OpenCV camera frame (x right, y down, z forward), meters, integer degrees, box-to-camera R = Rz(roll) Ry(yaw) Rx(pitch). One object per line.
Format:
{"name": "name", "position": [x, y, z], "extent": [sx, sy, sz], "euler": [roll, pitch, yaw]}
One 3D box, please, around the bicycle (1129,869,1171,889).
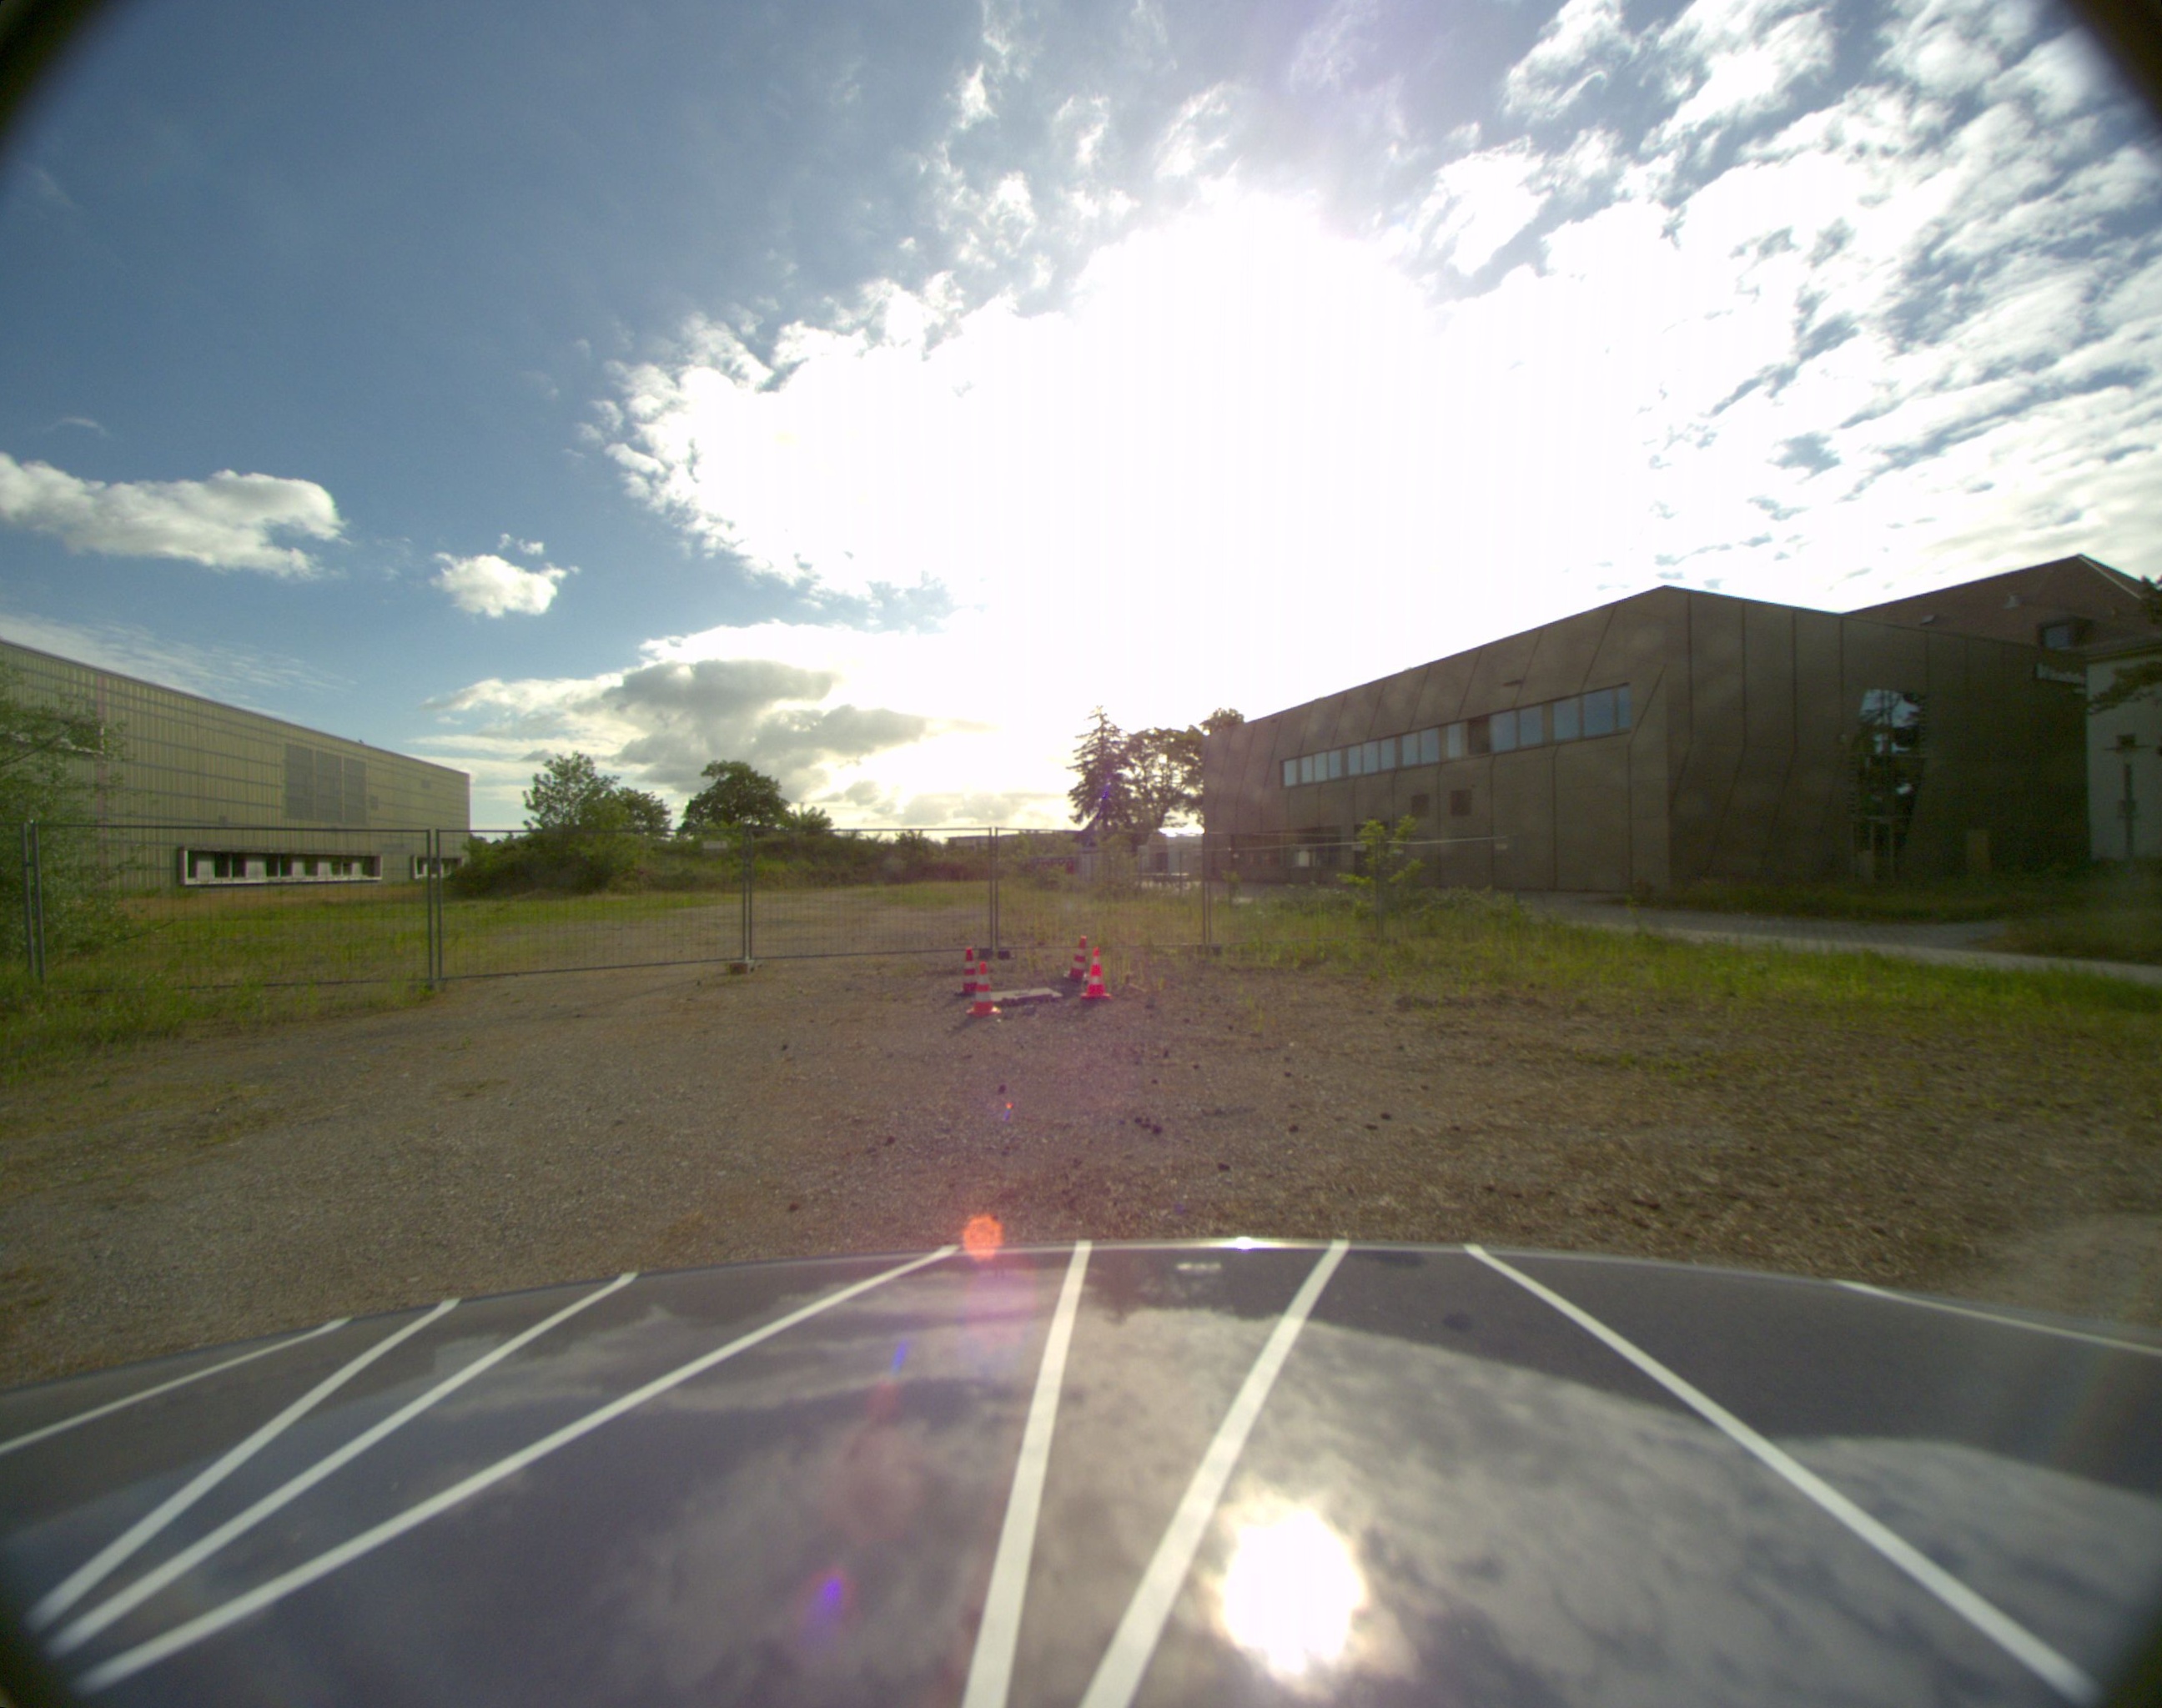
{"name": "bicycle", "position": [3.757, 1.342, 41.635], "extent": [2.071, 1.038, 0.944], "euler": [-1, 0, -22]}

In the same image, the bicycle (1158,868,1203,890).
{"name": "bicycle", "position": [5.044, 1.264, 38.514], "extent": [2.071, 1.080, 0.944], "euler": [-1, 0, -22]}

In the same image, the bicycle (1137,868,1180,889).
{"name": "bicycle", "position": [4.162, 1.308, 40.593], "extent": [2.071, 1.038, 0.944], "euler": [-1, 0, -22]}

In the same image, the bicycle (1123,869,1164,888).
{"name": "bicycle", "position": [3.521, 1.371, 42.629], "extent": [2.071, 1.038, 0.944], "euler": [-1, 0, -22]}

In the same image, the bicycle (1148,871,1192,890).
{"name": "bicycle", "position": [4.663, 1.359, 39.707], "extent": [2.071, 0.916, 0.944], "euler": [-1, 0, -22]}
